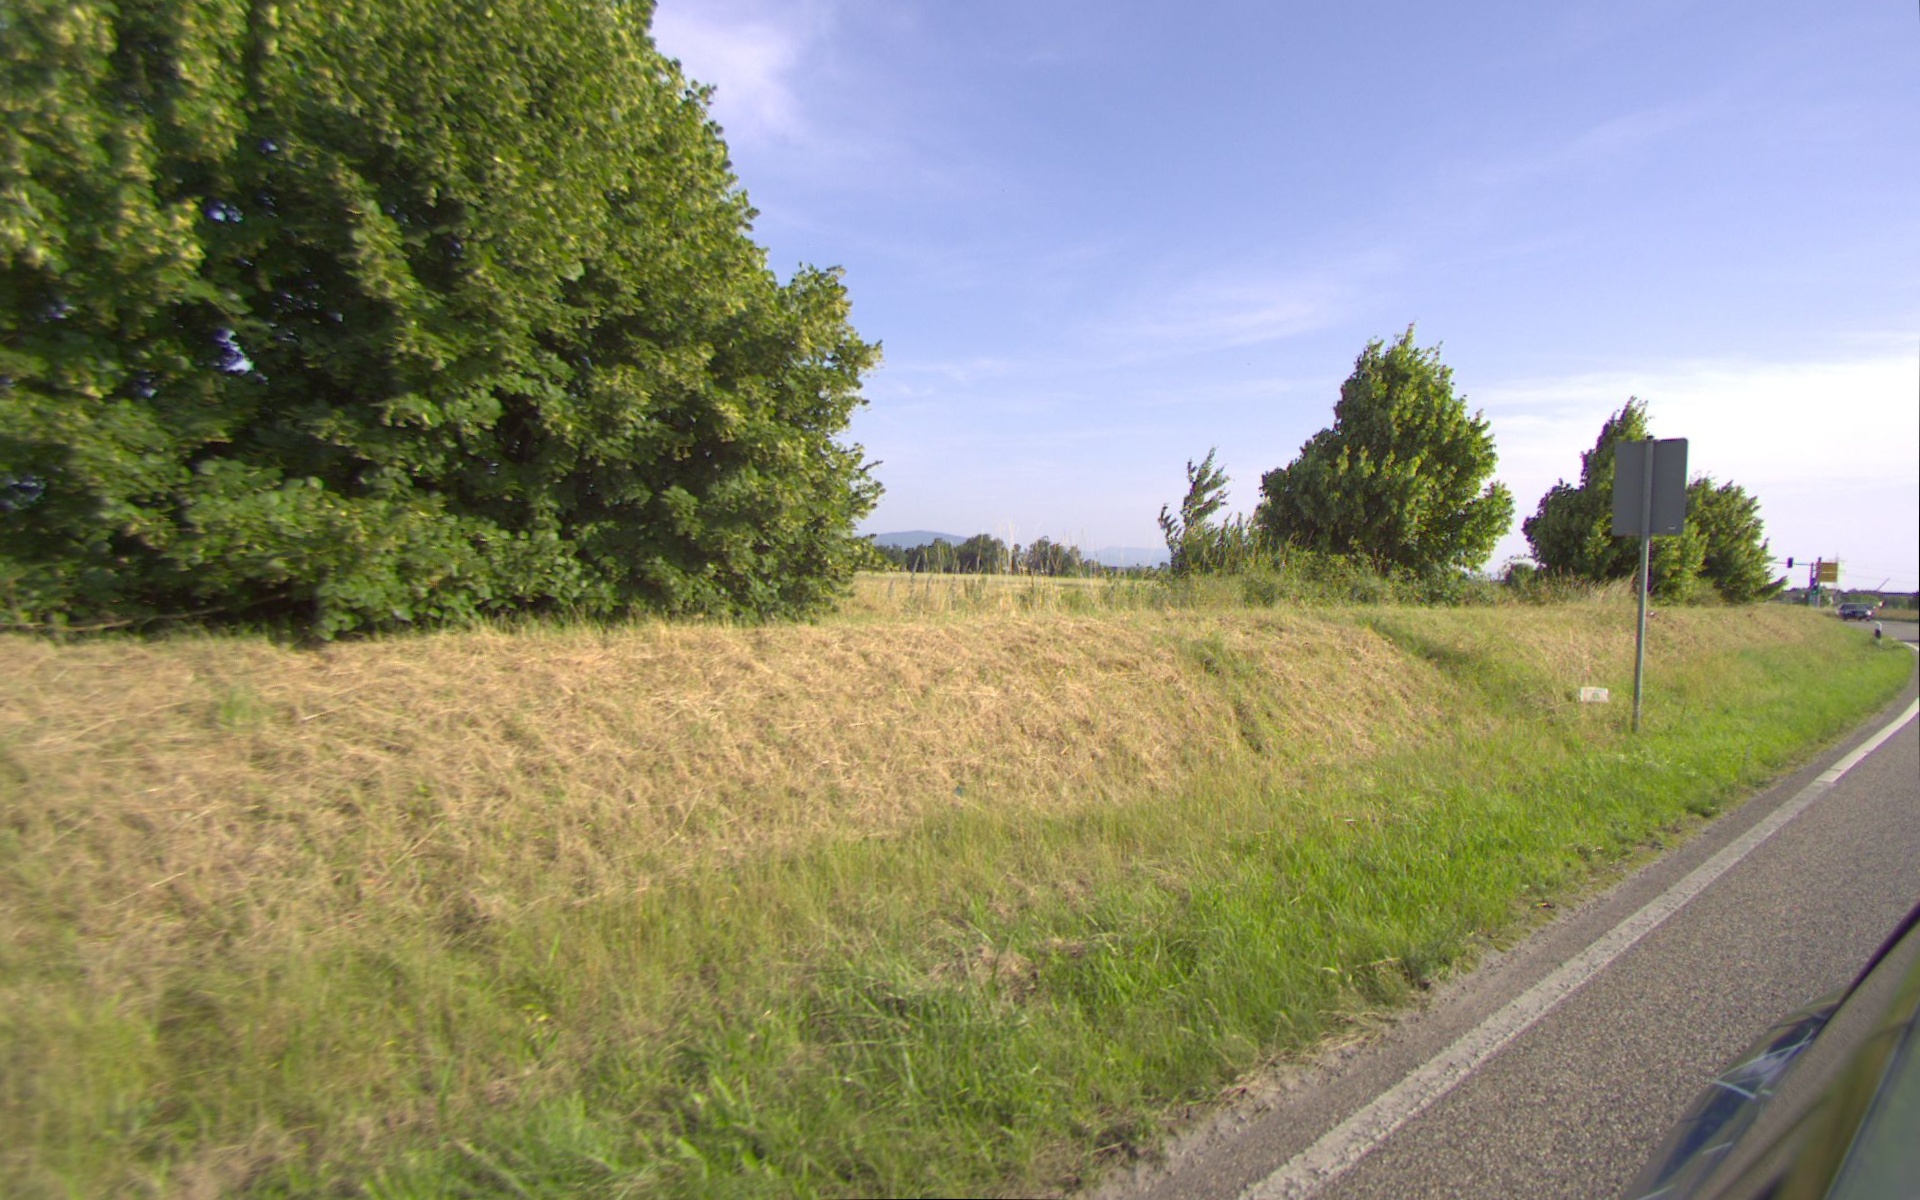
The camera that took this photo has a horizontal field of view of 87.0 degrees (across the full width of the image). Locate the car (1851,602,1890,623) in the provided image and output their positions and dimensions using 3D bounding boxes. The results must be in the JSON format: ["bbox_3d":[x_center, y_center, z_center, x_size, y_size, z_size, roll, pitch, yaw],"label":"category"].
[{"bbox_3d":[74.999,1.017,83.426,1.740,1.549,3.953,1,1,33],"label":"car"}]
